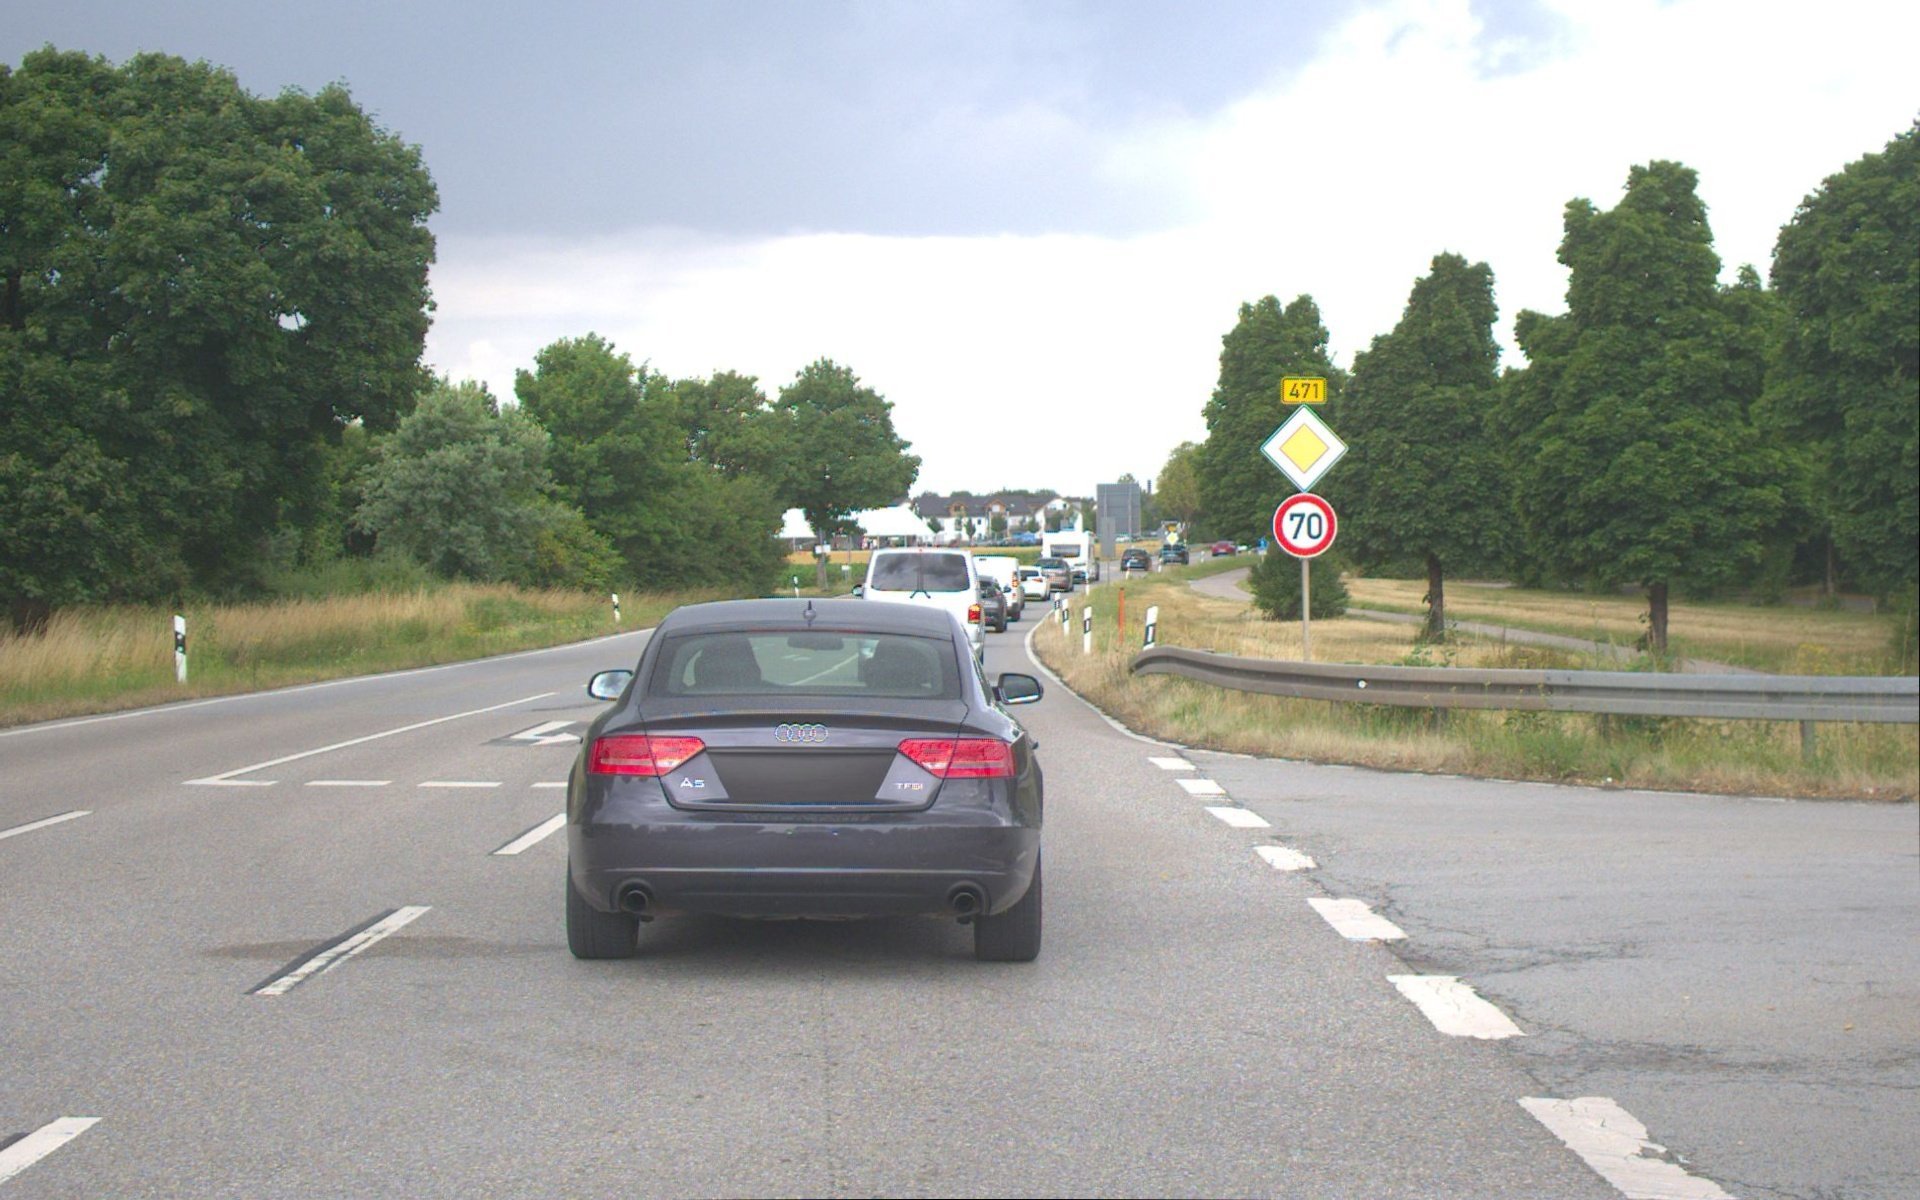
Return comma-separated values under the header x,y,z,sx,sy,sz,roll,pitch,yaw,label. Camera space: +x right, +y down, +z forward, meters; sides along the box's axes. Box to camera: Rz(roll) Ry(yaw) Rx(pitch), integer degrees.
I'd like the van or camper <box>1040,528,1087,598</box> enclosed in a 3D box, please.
x,y,z,sx,sy,sz,roll,pitch,yaw,label
5.211,-1.878,173.384,2.340,3.469,5.718,0,0,1,van or camper

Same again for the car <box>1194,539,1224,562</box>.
x,y,z,sx,sy,sz,roll,pitch,yaw,label
17.192,-3.421,237.499,1.821,1.591,4.000,1,1,0,car

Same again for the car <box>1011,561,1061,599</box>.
x,y,z,sx,sy,sz,roll,pitch,yaw,label
3.072,-0.817,138.841,1.736,1.509,3.746,0,1,5,car

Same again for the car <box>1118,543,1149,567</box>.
x,y,z,sx,sy,sz,roll,pitch,yaw,label
10.837,-2.821,215.188,1.719,1.446,4.000,1,1,0,car

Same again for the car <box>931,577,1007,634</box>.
x,y,z,sx,sy,sz,roll,pitch,yaw,label
0.252,0.128,89.609,1.796,1.459,3.248,0,1,3,car

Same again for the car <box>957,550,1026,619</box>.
x,y,z,sx,sy,sz,roll,pitch,yaw,label
0.999,-0.484,105.713,1.993,2.081,4.000,0,0,2,car

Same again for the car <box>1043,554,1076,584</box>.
x,y,z,sx,sy,sz,roll,pitch,yaw,label
4.503,-1.390,154.780,1.258,1.349,3.465,0,1,5,car

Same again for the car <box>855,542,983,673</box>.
x,y,z,sx,sy,sz,roll,pitch,yaw,label
-0.625,0.070,51.975,1.838,1.876,4.000,1,1,-1,car

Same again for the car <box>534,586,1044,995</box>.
x,y,z,sx,sy,sz,roll,pitch,yaw,label
-0.629,0.666,14.149,1.783,1.372,4.000,1,1,-1,car

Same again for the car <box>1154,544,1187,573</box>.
x,y,z,sx,sy,sz,roll,pitch,yaw,label
14.727,-2.915,240.569,1.993,2.007,4.000,0,0,-1,car
